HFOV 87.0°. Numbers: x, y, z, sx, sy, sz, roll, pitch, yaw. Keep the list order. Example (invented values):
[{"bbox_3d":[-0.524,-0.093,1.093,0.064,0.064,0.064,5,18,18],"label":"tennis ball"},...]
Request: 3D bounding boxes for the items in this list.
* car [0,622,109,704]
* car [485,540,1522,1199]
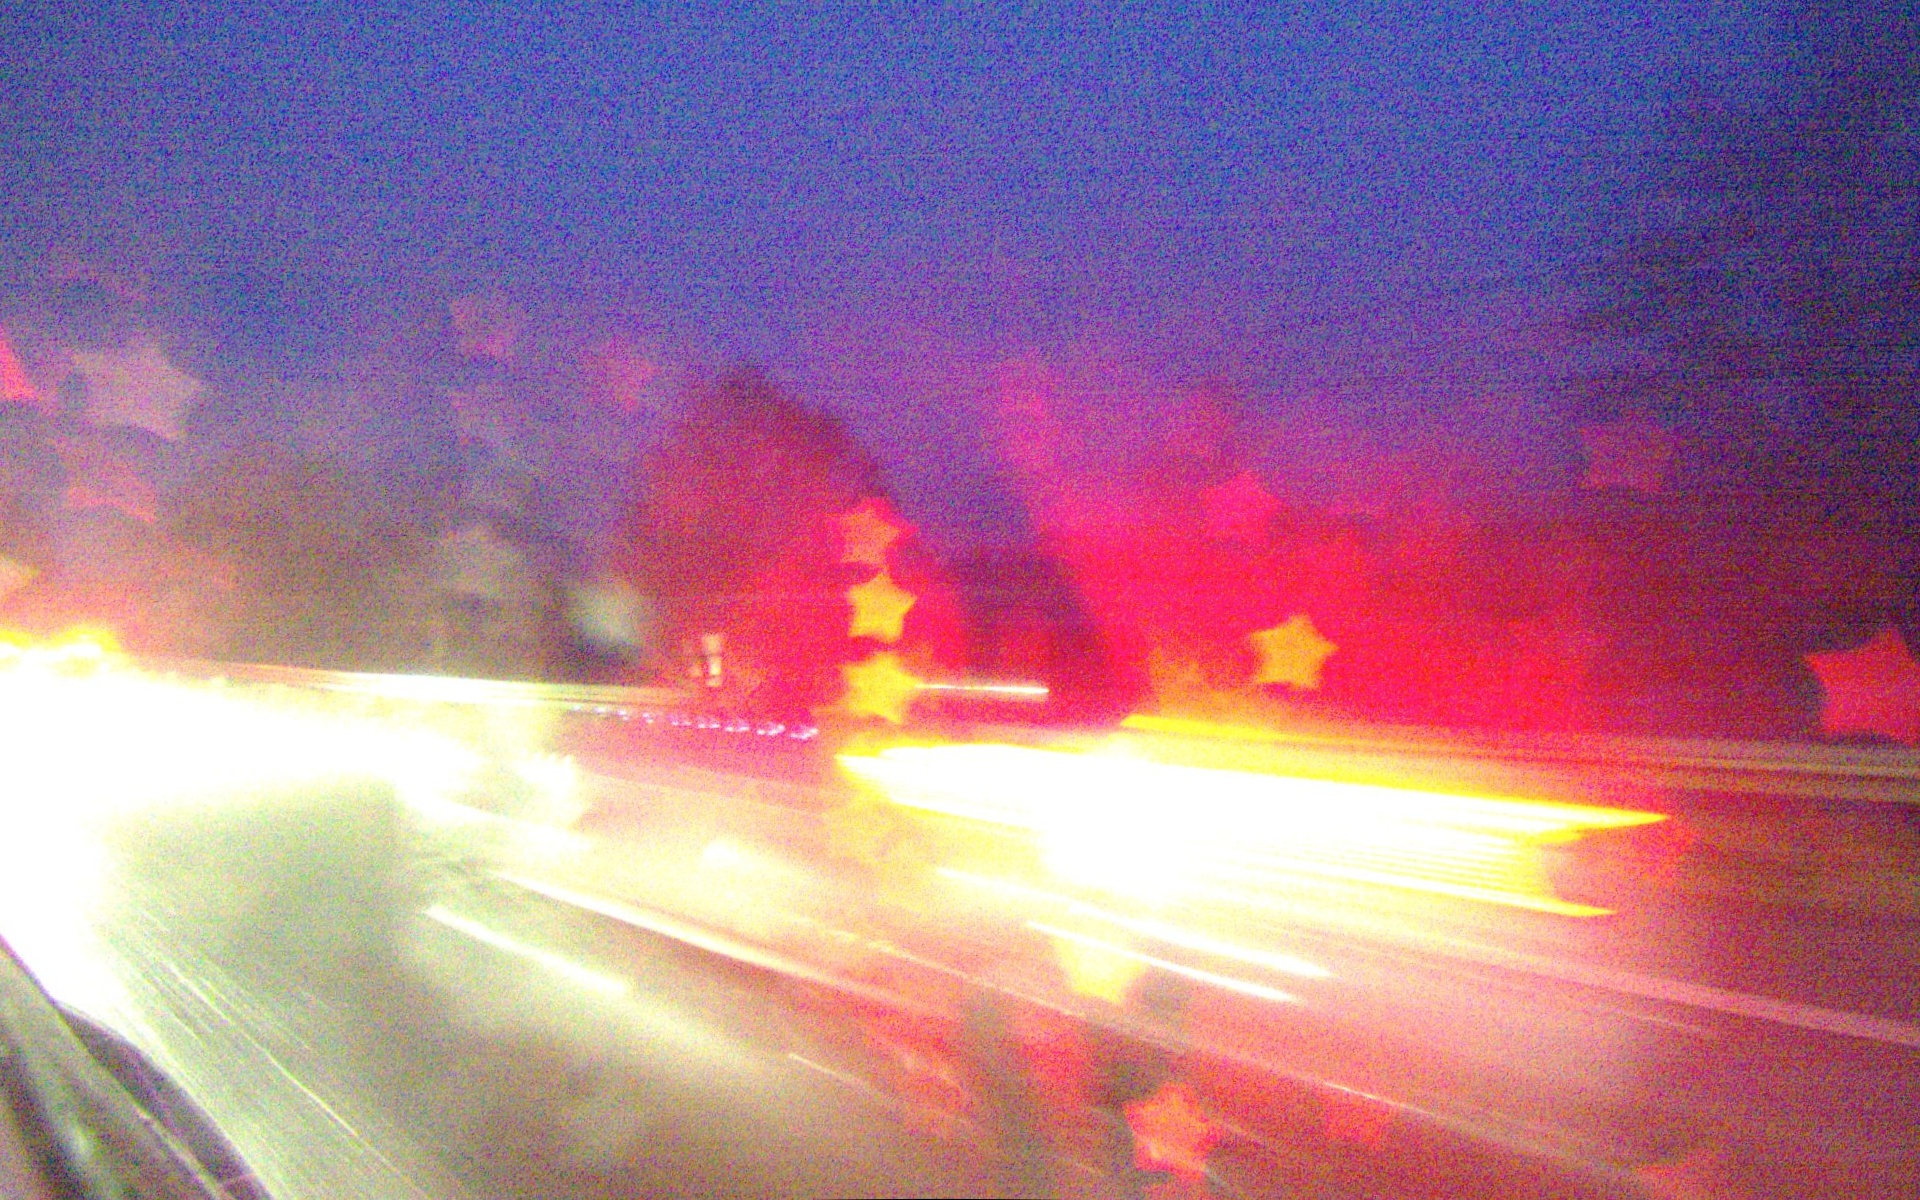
[{"bbox_3d":[-19.241,1.237,20.825,4.344,1.527,1.954,-1,-2,41],"label":"car"},{"bbox_3d":[-0.100,0.681,3.817,3.598,1.522,1.767,-1,-1,41],"label":"car"}]
